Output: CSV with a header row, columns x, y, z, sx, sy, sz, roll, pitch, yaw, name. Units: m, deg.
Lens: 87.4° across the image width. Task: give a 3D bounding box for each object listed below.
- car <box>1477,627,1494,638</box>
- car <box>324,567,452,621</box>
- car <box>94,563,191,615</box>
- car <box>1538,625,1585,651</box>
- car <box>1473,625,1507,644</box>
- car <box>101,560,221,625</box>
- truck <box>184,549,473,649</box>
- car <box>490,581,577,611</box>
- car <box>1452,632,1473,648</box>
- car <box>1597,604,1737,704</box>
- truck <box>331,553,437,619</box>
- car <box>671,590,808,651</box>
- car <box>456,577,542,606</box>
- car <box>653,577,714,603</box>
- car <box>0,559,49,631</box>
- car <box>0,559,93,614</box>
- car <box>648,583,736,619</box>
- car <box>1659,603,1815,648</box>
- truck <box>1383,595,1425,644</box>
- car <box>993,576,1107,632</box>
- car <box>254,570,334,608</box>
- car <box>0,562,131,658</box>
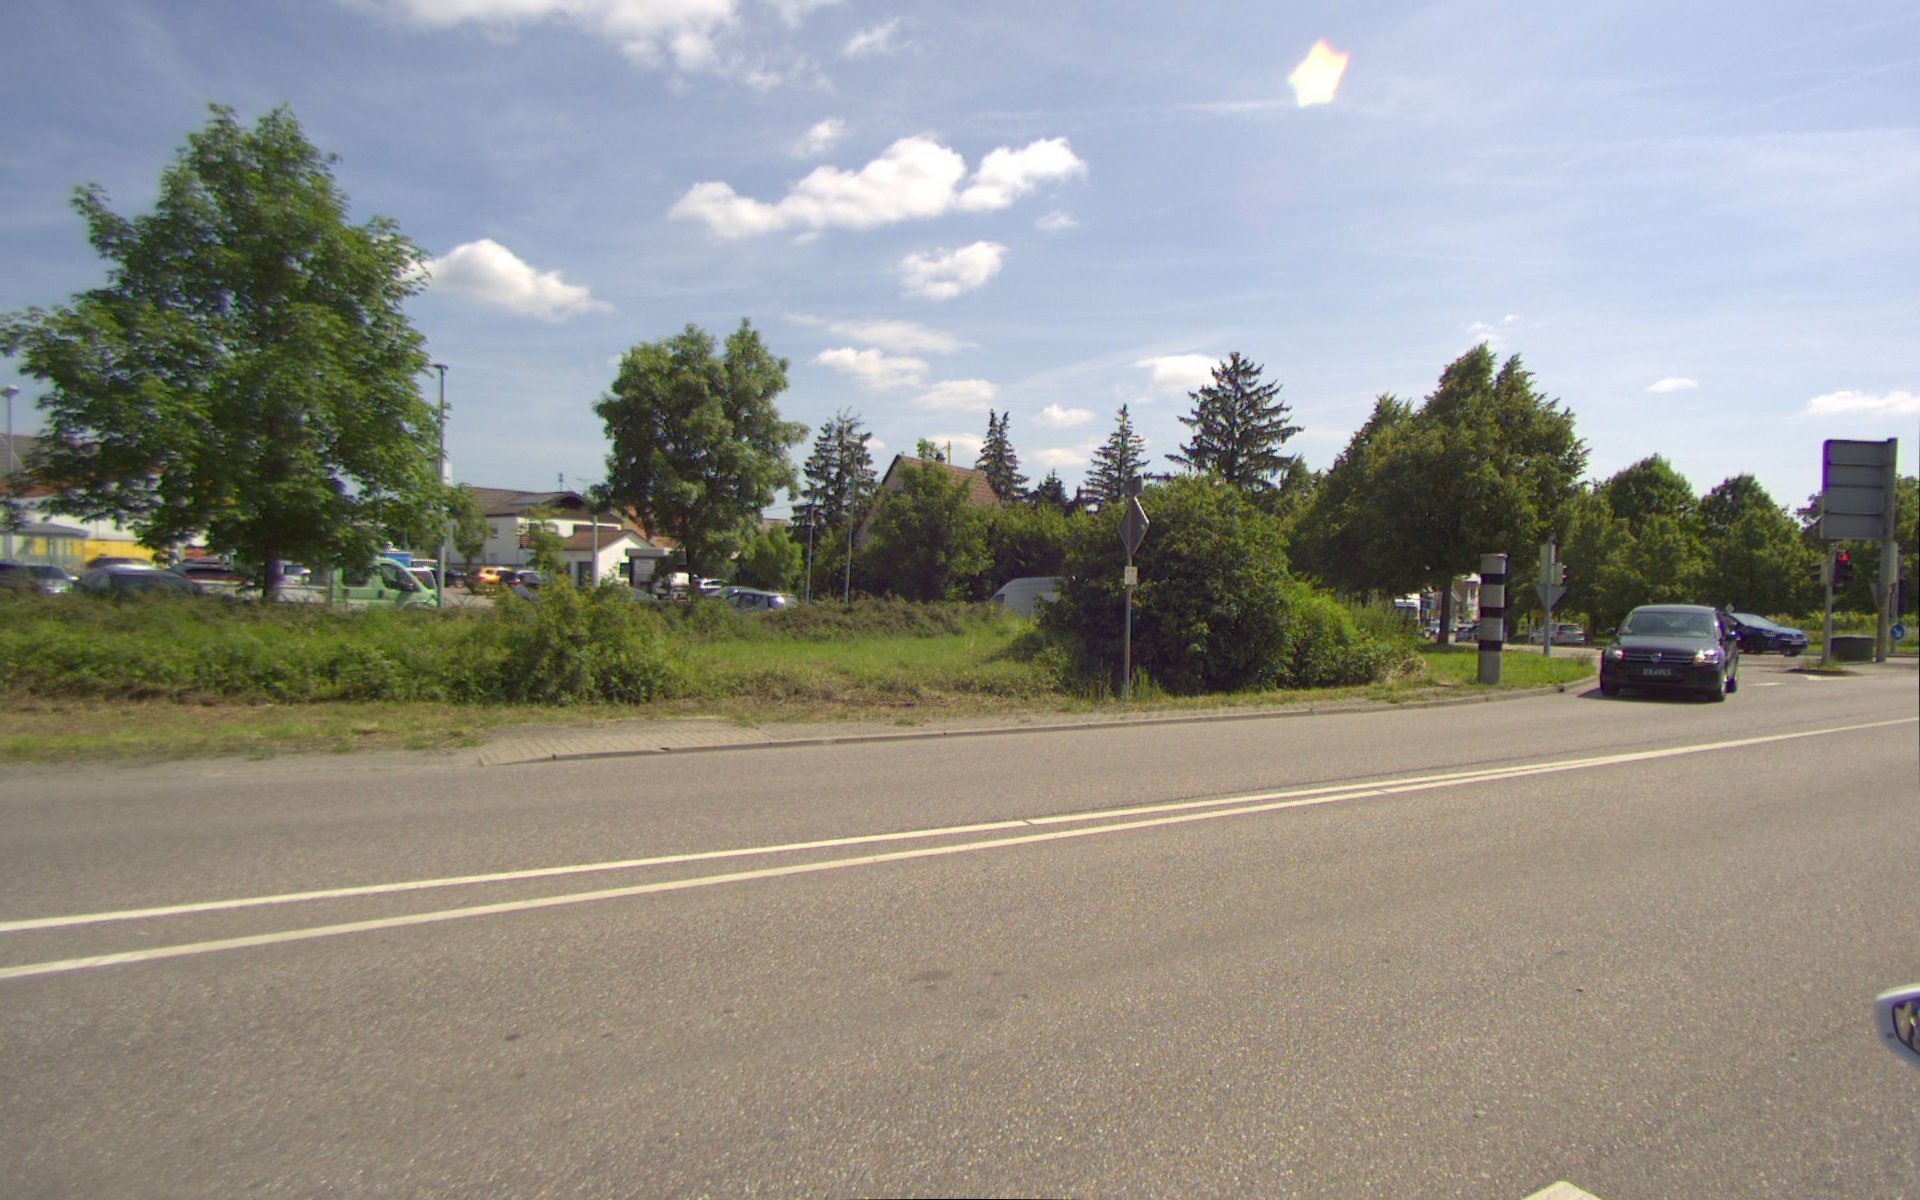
x,y,z,sx,sy,sz,roll,pitch,yaw,name
75.692,4.661,144.643,1.965,1.448,3.992,2,0,31,car
-19.317,-0.217,33.883,4.353,1.717,1.994,1,0,34,car
-26.511,-0.355,32.550,3.941,1.549,1.770,2,0,41,car
37.544,2.336,62.768,1.507,1.511,4.010,2,0,16,car
41.198,2.652,78.213,1.707,1.322,4.281,1,0,19,car
-22.848,-0.213,28.673,3.939,1.711,1.918,2,0,40,car
-17.026,-0.007,27.474,2.214,2.407,6.323,1,0,38,truck
-24.554,-0.200,57.965,1.849,1.562,4.243,2,0,37,car
46.192,3.635,92.355,1.645,1.375,3.856,2,0,27,car
13.167,0.910,18.605,1.782,1.619,4.249,1,0,40,car
-22.341,-0.536,38.912,3.932,2.397,1.994,2,0,34,truck
-7.081,0.635,32.192,3.928,1.751,1.997,2,0,29,car
-27.132,-0.488,59.220,1.849,1.562,4.243,2,0,37,car
-20.182,-0.725,73.407,1.866,1.782,3.988,2,0,35,car
-24.804,-0.180,25.553,3.939,1.697,1.903,3,1,40,car
-28.226,-0.428,30.735,3.936,1.549,1.772,2,0,37,car
-13.587,0.060,51.014,1.883,1.662,3.984,2,0,38,car
27.579,0.864,35.841,1.711,1.448,4.271,2,0,-12,car
37.697,1.675,85.183,2.892,3.848,7.919,2,0,26,truck
3.897,0.145,43.759,4.524,2.209,1.992,2,1,37,car
-30.290,-0.510,45.670,4.193,1.562,1.871,2,0,40,car
-17.556,0.157,19.453,3.941,1.679,1.686,2,0,42,car
